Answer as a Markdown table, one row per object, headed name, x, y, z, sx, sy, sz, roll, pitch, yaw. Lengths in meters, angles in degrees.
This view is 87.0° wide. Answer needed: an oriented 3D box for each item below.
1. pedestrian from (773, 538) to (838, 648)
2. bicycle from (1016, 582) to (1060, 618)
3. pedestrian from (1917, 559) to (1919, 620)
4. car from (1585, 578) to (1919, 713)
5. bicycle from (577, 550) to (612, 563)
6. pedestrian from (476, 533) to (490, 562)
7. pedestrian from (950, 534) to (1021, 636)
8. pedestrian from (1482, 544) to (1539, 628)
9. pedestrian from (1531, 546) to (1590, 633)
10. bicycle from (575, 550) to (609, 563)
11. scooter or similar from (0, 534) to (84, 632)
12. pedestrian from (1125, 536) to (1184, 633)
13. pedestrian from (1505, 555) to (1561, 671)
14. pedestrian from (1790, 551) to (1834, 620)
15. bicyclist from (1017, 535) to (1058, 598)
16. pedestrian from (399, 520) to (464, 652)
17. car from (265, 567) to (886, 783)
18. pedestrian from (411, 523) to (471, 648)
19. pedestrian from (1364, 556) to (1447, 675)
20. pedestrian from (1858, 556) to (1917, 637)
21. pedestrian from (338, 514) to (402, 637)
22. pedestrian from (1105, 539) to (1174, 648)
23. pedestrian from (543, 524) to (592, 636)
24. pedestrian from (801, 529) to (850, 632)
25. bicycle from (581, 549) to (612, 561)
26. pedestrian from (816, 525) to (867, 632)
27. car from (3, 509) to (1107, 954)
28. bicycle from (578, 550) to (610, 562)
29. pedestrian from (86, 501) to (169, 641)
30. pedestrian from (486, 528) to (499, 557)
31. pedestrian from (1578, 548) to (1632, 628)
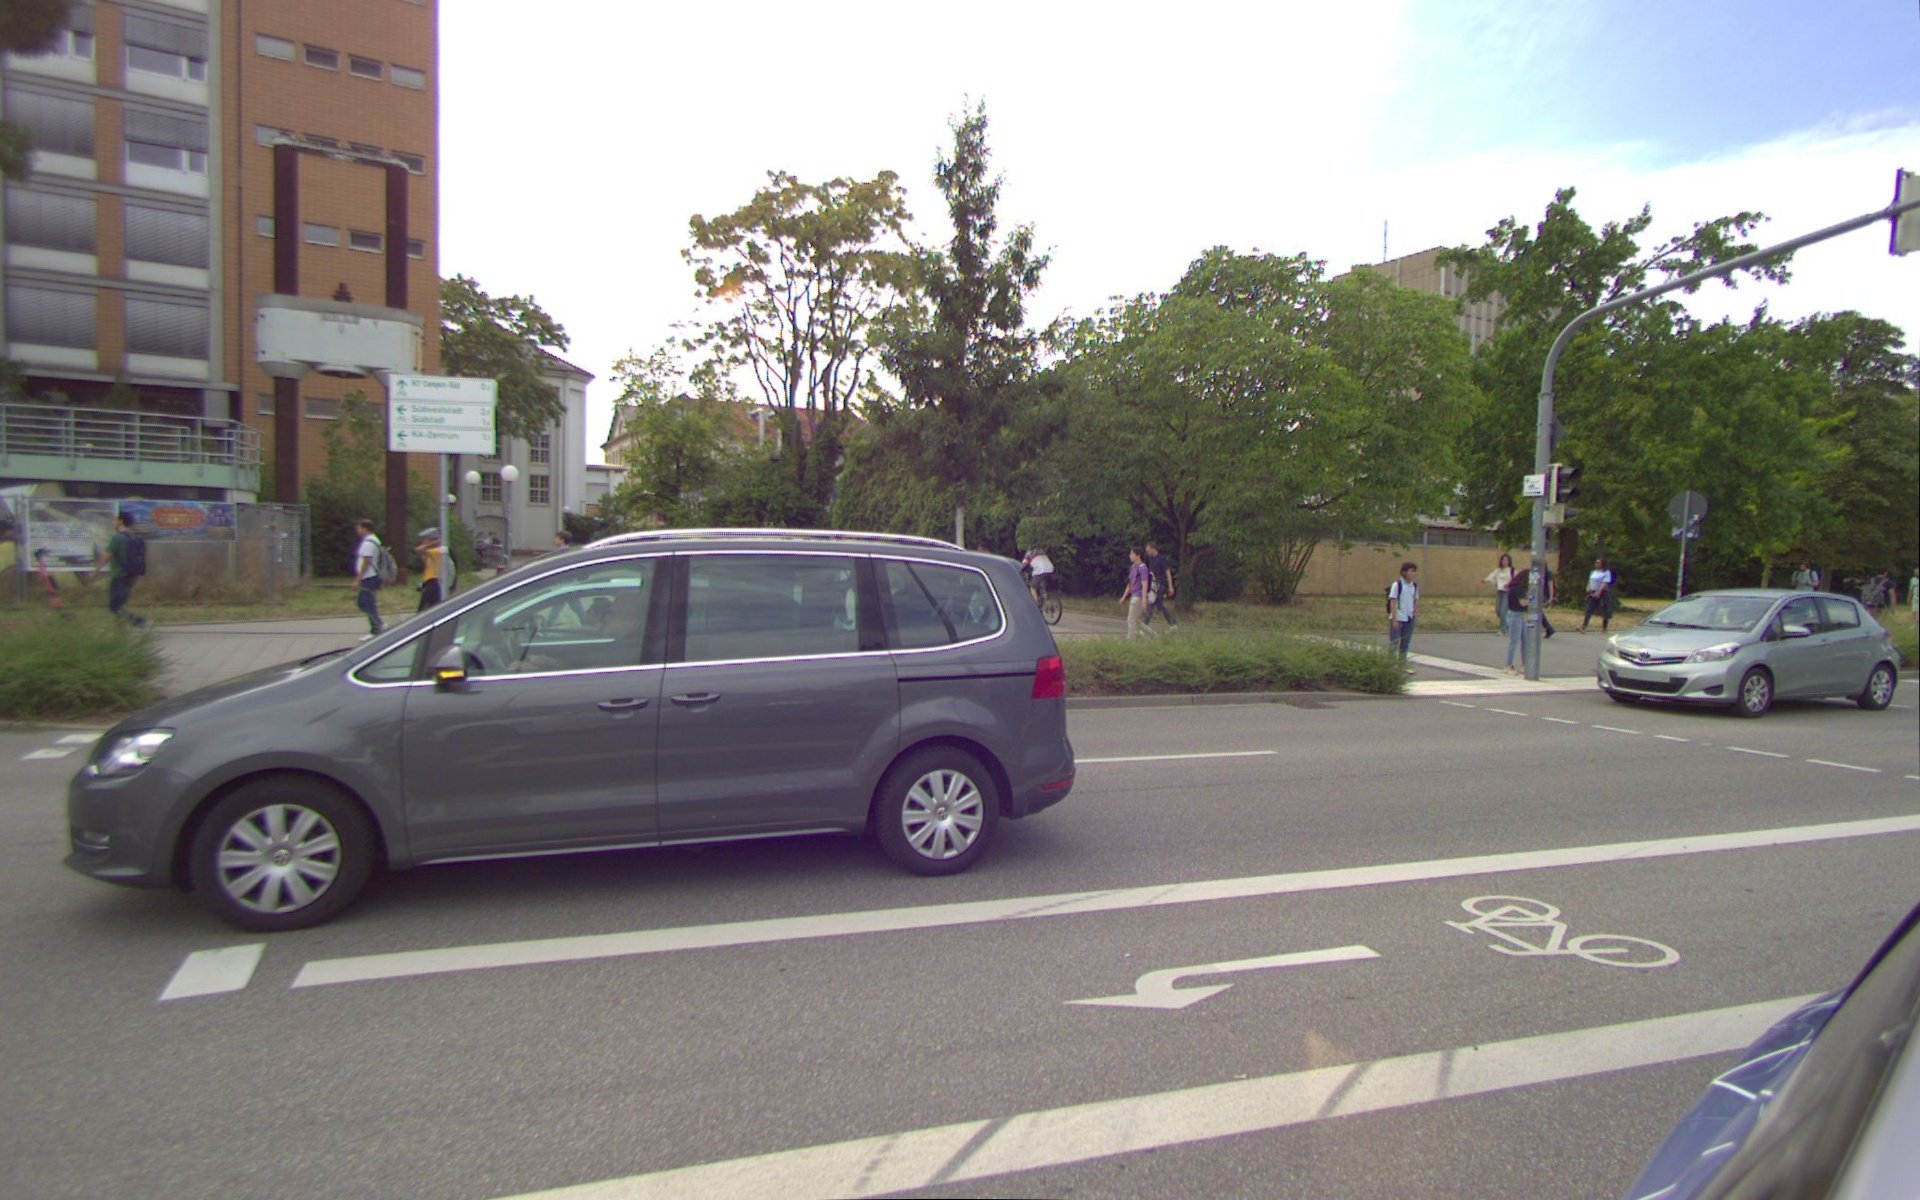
| name | x | y | z | sx | sy | sz | roll | pitch | yaw |
| --- | --- | --- | --- | --- | --- | --- | --- | --- | --- |
| pedestrian | -2.324 | -0.130 | 15.157 | 0.783 | 1.561 | 0.842 | 0 | 5 | -22 |
| bicycle | 1.604 | -0.014 | 21.085 | 0.828 | 0.702 | 1.844 | 0 | 1 | 2 |
| pedestrian | 27.768 | -0.298 | 28.630 | 0.681 | 1.732 | 0.843 | 0 | 1 | -28 |
| car | 10.035 | 0.482 | 12.783 | 3.794 | 1.508 | 1.675 | -1 | 1 | -21 |
| bicycle | -20.346 | -2.438 | 56.353 | 1.806 | 0.702 | 0.668 | -1 | 1 | -17 |
| pedestrian | -28.538 | -3.127 | 60.514 | 0.626 | 1.732 | 0.710 | 0 | 2 | -17 |
| pedestrian | 0.445 | -0.274 | 17.777 | 0.992 | 1.732 | 0.841 | 0 | 1 | -22 |
| pedestrian | 11.708 | -0.302 | 21.522 | 0.785 | 1.732 | 0.839 | -1 | 1 | -40 |
| pedestrian | 12.401 | -0.222 | 20.889 | 0.785 | 1.732 | 0.839 | -1 | 1 | -40 |
| bicycle | -21.498 | -2.546 | 59.186 | 1.806 | 0.702 | 0.653 | -1 | 1 | -17 |
| scooter or similar | -13.439 | -0.246 | 14.619 | 1.126 | 1.387 | 0.399 | -1 | 1 | -35 |
| pedestrian | 3.758 | -0.301 | 19.593 | 0.783 | 1.831 | 0.841 | 0 | 1 | -22 |
| pedestrian | 8.743 | 0.182 | 15.449 | 0.575 | 1.732 | 0.482 | 0 | 0 | -19 |
| pedestrian | 21.725 | -0.383 | 25.807 | 0.681 | 1.716 | 0.545 | 0 | 4 | -28 |
| bicyclist | 1.602 | -0.691 | 21.099 | 0.824 | 1.293 | 1.012 | 0 | 1 | 3 |
| pedestrian | -7.112 | -0.205 | 13.652 | 0.693 | 1.731 | 0.641 | 0 | 3 | -22 |
| car | -3.013 | 0.479 | 8.598 | 4.433 | 1.492 | 1.829 | -1 | 1 | -20 |
| pedestrian | -7.350 | -0.208 | 14.353 | 0.693 | 1.732 | 0.641 | 0 | 1 | -22 |
| pedestrian | 6.689 | 0.220 | 15.213 | 0.822 | 1.732 | 0.801 | 0 | 1 | -19 |
| pedestrian | 20.313 | -0.080 | 22.170 | 0.679 | 1.732 | 0.736 | 0 | 1 | -22 |
| pedestrian | -8.600 | -0.364 | 14.771 | 0.693 | 1.732 | 0.641 | 0 | 2 | -22 |
| pedestrian | 2.932 | -0.108 | 16.599 | 0.783 | 1.732 | 0.841 | 0 | 1 | -22 |
| pedestrian | -6.215 | -0.332 | 16.023 | 0.693 | 1.731 | 0.642 | 0 | 4 | -22 |
| pedestrian | -2.325 | -0.340 | 17.458 | 0.693 | 1.732 | 0.641 | 0 | 1 | -22 |
| bicycle | -22.473 | -2.787 | 62.609 | 1.806 | 0.702 | 0.653 | -1 | 1 | -17 |
| pedestrian | -1.971 | -0.357 | 16.755 | 0.693 | 1.732 | 0.641 | 0 | 1 | -22 |
| car | -1.691 | 0.457 | 5.368 | 4.587 | 1.671 | 1.764 | -1 | 1 | -19 |
| bicycle | -21.988 | -2.620 | 60.816 | 1.806 | 0.702 | 0.653 | -1 | 1 | -17 |
| pedestrian | -11.482 | -0.403 | 13.982 | 0.693 | 1.875 | 0.641 | 0 | 3 | -22 |
| pedestrian | -27.591 | -3.391 | 59.735 | 0.626 | 1.732 | 0.710 | 0 | 2 | -17 |
| pedestrian | 14.292 | -0.271 | 22.423 | 0.783 | 1.732 | 0.715 | 0 | 1 | -28 |
